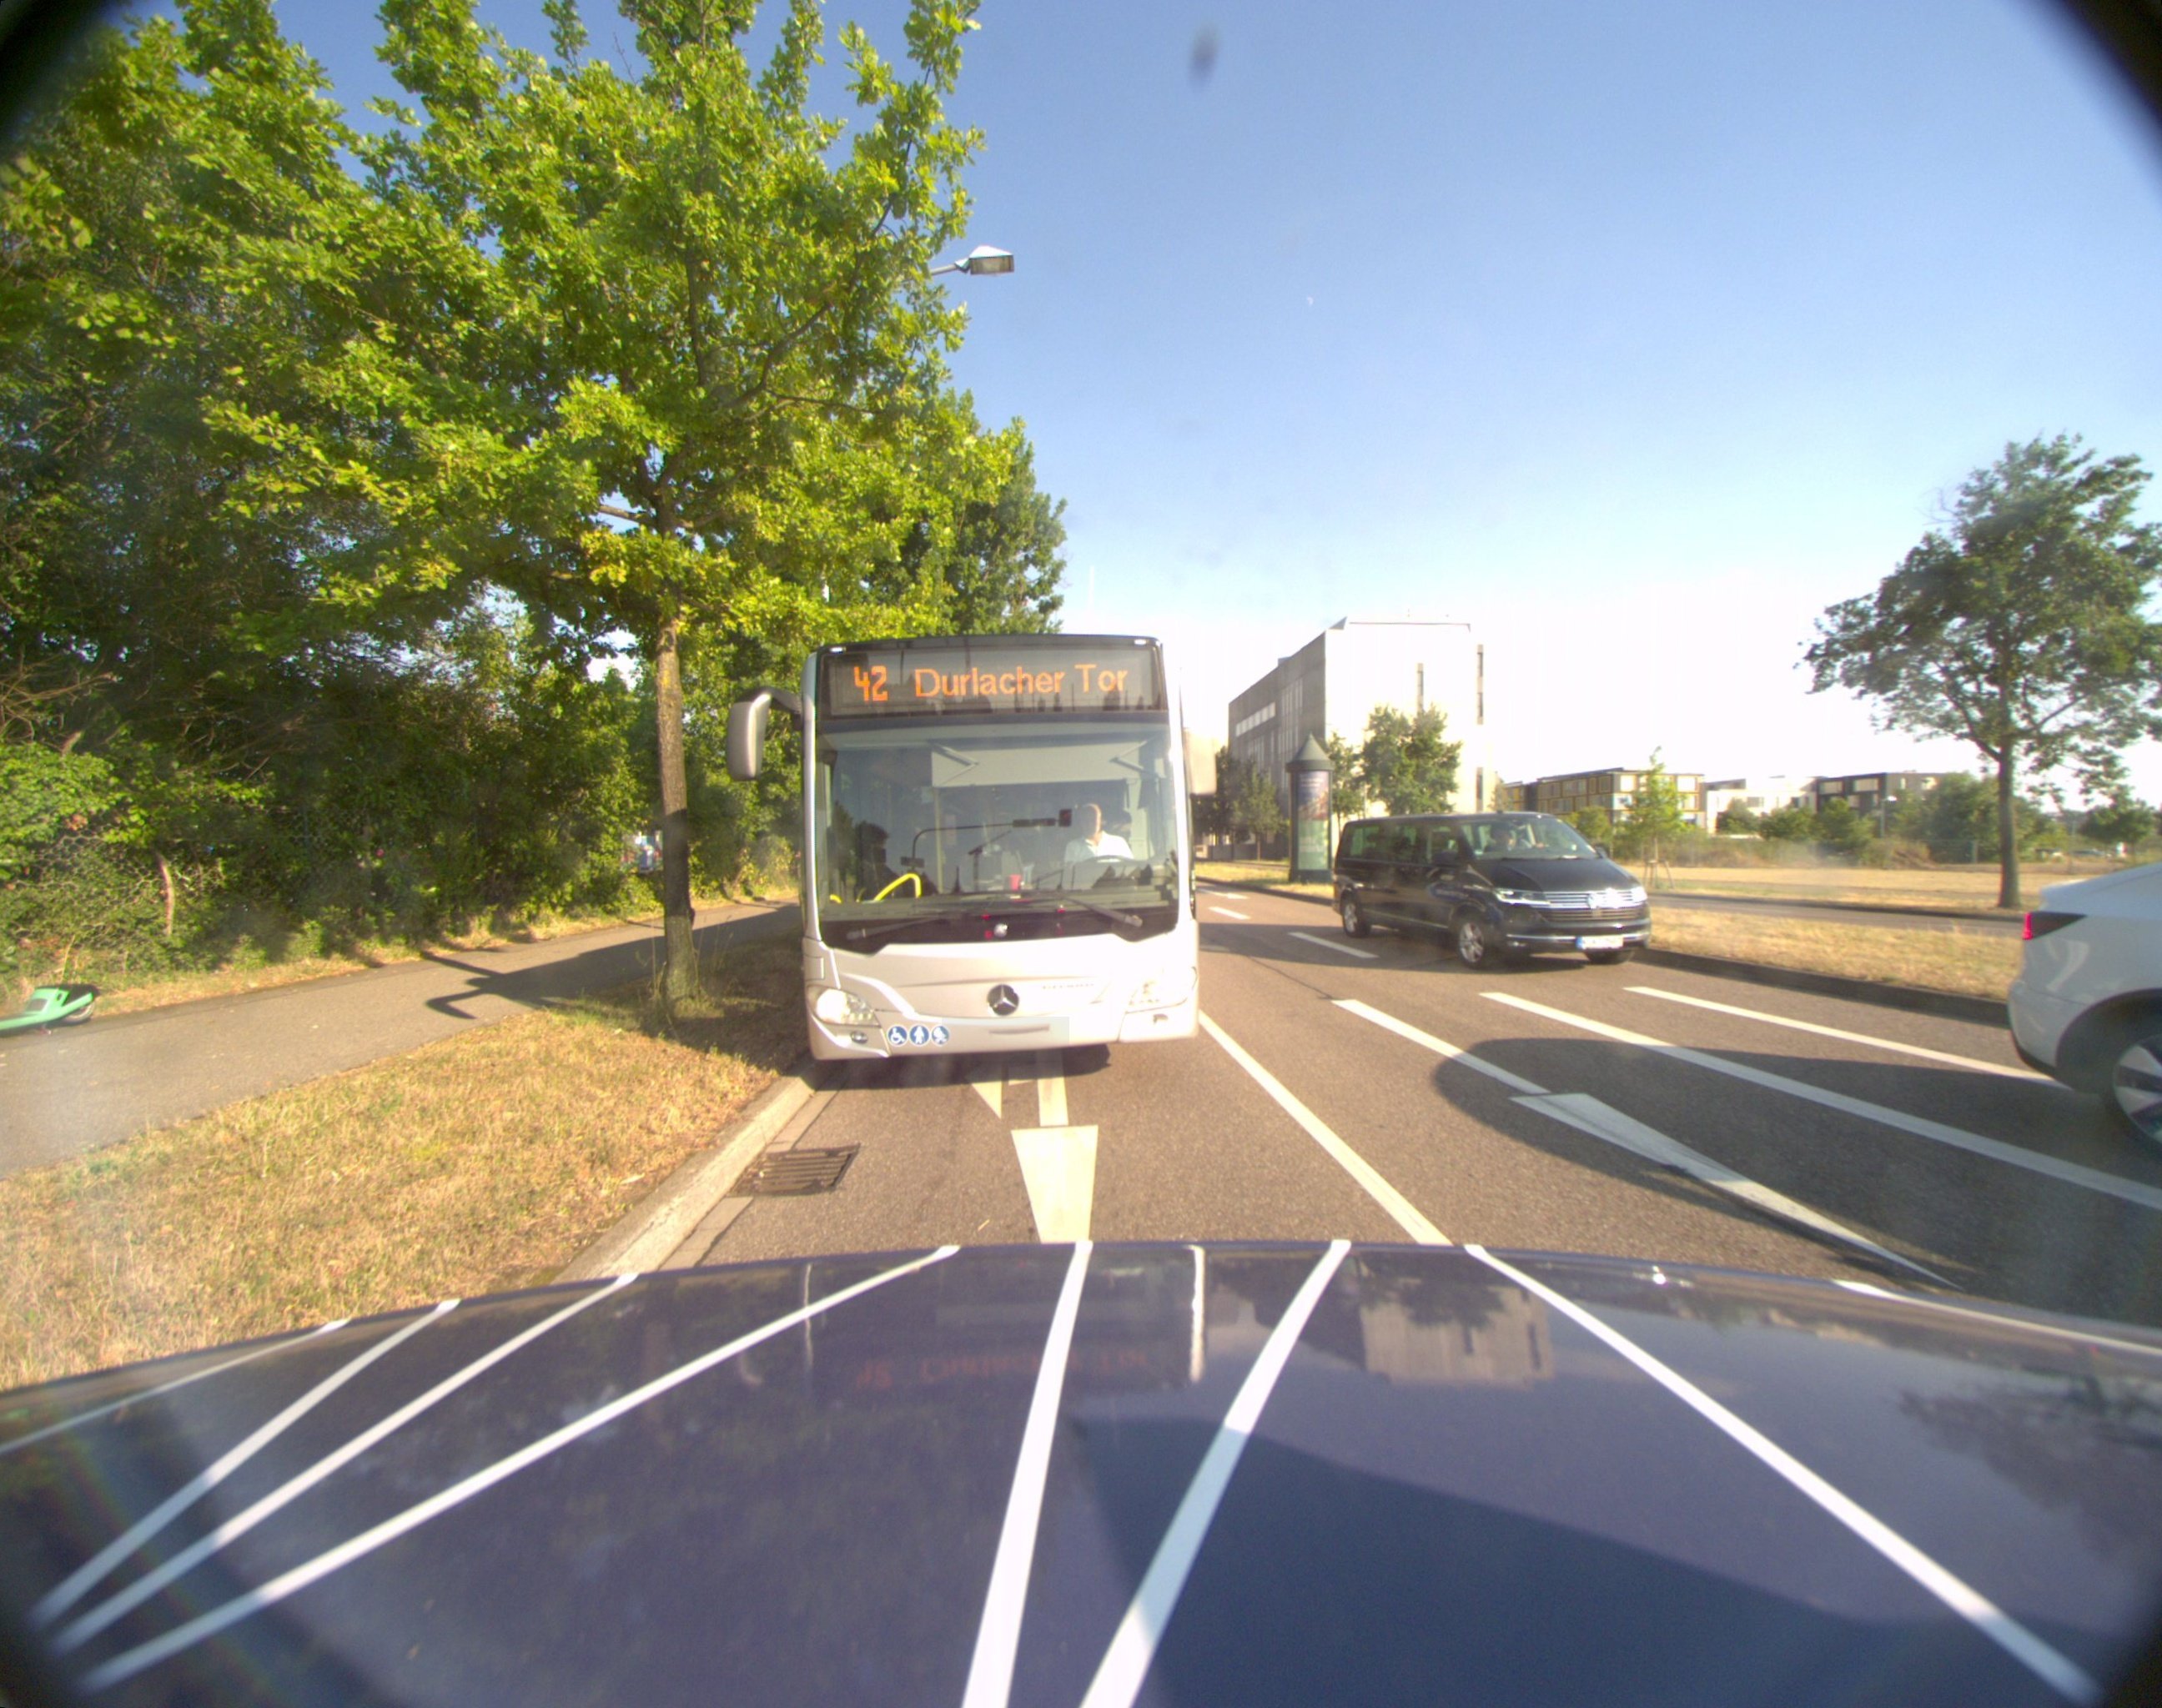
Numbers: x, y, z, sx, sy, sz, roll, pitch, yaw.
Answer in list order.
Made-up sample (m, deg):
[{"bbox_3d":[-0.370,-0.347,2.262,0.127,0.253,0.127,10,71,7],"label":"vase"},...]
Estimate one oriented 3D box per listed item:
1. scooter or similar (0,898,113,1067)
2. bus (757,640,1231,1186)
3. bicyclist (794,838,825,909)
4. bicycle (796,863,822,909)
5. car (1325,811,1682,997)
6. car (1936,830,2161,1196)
[{"bbox_3d":[-7.543,0.903,5.261,0.249,1.120,1.095,2,1,1],"label":"scooter or similar"},{"bbox_3d":[-0.924,0.282,10.150,2.596,3.025,11.713,-1,0,-5],"label":"bus"},{"bbox_3d":[-7.110,0.498,19.911,0.621,1.819,0.829,3,1,-15],"label":"bicyclist"},{"bbox_3d":[-7.162,0.818,20.051,0.416,1.151,1.889,2,0,-13],"label":"bicycle"},{"bbox_3d":[5.316,0.498,10.577,1.861,1.921,5.010,-2,1,-4],"label":"car"},{"bbox_3d":[5.677,0.686,1.862,1.740,1.590,4.675,-2,0,-4],"label":"car"}]
